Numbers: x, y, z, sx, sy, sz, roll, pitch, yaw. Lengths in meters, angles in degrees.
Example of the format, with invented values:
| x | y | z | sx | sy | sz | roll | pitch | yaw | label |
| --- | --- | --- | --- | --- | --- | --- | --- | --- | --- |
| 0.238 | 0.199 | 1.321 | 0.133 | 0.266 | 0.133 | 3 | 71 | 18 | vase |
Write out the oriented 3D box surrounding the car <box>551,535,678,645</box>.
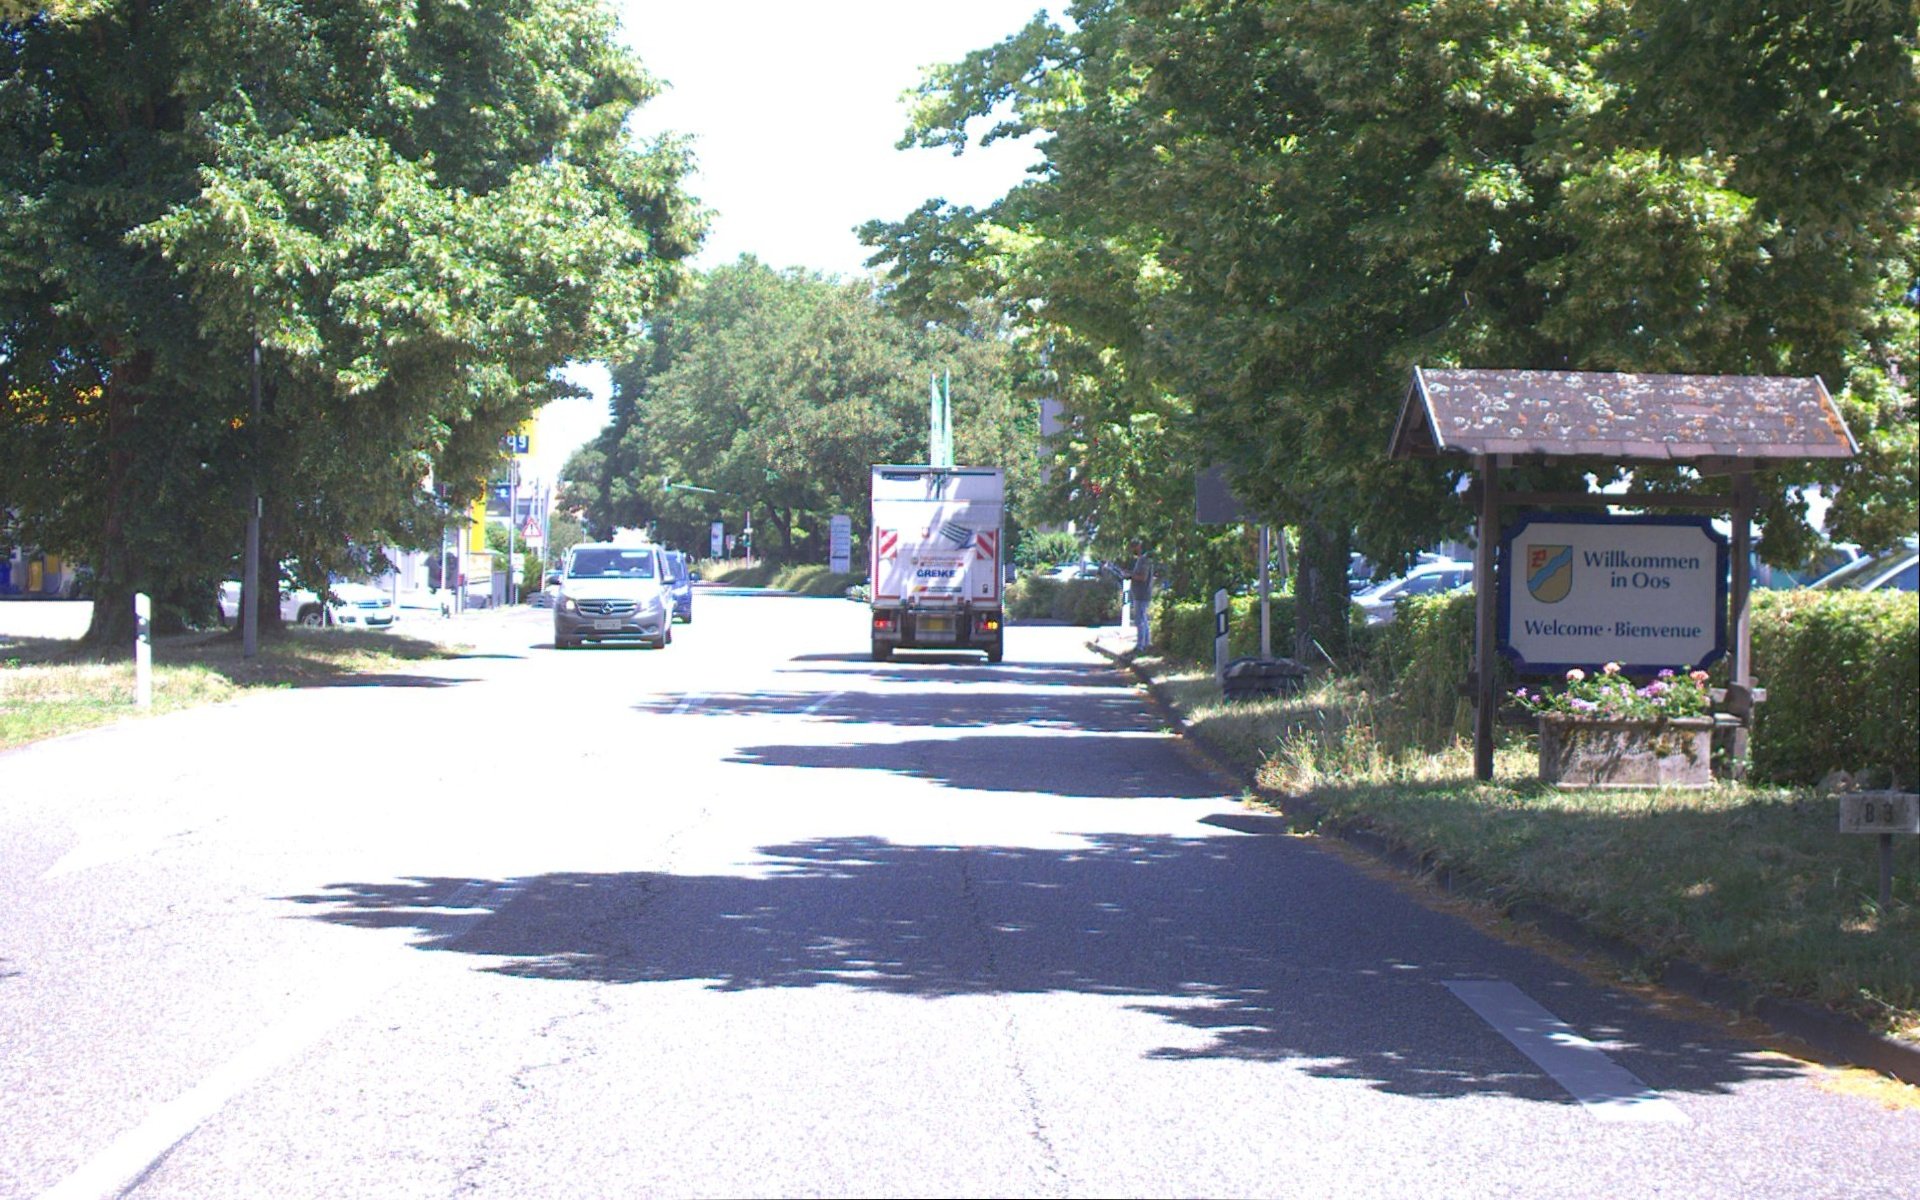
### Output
| x | y | z | sx | sy | sz | roll | pitch | yaw | label |
| --- | --- | --- | --- | --- | --- | --- | --- | --- | --- |
| -6.155 | -0.200 | 60.820 | 1.993 | 1.850 | 5.317 | 0 | 1 | -8 | car |

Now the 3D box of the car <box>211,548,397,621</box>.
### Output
| x | y | z | sx | sy | sz | roll | pitch | yaw | label |
| --- | --- | --- | --- | --- | --- | --- | --- | --- | --- |
| -12.634 | -0.306 | 66.186 | 3.428 | 1.357 | 1.333 | 1 | 1 | 28 | car |

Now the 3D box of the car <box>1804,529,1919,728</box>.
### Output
| x | y | z | sx | sy | sz | roll | pitch | yaw | label |
| --- | --- | --- | --- | --- | --- | --- | --- | --- | --- |
| 9.105 | 0.260 | 28.053 | 3.934 | 1.559 | 1.797 | 1 | 0 | -1 | car |

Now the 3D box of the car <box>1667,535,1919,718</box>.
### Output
| x | y | z | sx | sy | sz | roll | pitch | yaw | label |
| --- | --- | --- | --- | --- | --- | --- | --- | --- | --- |
| 9.072 | 0.244 | 33.331 | 4.017 | 1.721 | 1.853 | 0 | 0 | -1 | car |

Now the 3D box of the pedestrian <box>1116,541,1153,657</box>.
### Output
| x | y | z | sx | sy | sz | roll | pitch | yaw | label |
| --- | --- | --- | --- | --- | --- | --- | --- | --- | --- |
| 2.673 | -0.019 | 52.571 | 0.548 | 1.770 | 0.577 | 0 | 0 | 4 | pedestrian |

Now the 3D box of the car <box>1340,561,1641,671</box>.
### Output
| x | y | z | sx | sy | sz | roll | pitch | yaw | label |
| --- | --- | --- | --- | --- | --- | --- | --- | --- | --- |
| 7.424 | 0.218 | 48.371 | 3.945 | 1.505 | 1.706 | 0 | 0 | -1 | car |

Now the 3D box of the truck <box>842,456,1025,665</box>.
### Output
| x | y | z | sx | sy | sz | roll | pitch | yaw | label |
| --- | --- | --- | --- | --- | --- | --- | --- | --- | --- |
| -0.349 | -0.660 | 54.142 | 2.534 | 3.124 | 5.361 | 0 | 1 | 3 | truck |

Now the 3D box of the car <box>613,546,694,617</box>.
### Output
| x | y | z | sx | sy | sz | roll | pitch | yaw | label |
| --- | --- | --- | --- | --- | --- | --- | --- | --- | --- |
| -7.687 | -0.472 | 86.482 | 1.744 | 1.740 | 4.579 | 0 | 1 | -2 | car |

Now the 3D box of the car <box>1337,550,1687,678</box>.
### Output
| x | y | z | sx | sy | sz | roll | pitch | yaw | label |
| --- | --- | --- | --- | --- | --- | --- | --- | --- | --- |
| 6.945 | 0.169 | 43.556 | 4.106 | 1.571 | 1.867 | 0 | 1 | -1 | car |
